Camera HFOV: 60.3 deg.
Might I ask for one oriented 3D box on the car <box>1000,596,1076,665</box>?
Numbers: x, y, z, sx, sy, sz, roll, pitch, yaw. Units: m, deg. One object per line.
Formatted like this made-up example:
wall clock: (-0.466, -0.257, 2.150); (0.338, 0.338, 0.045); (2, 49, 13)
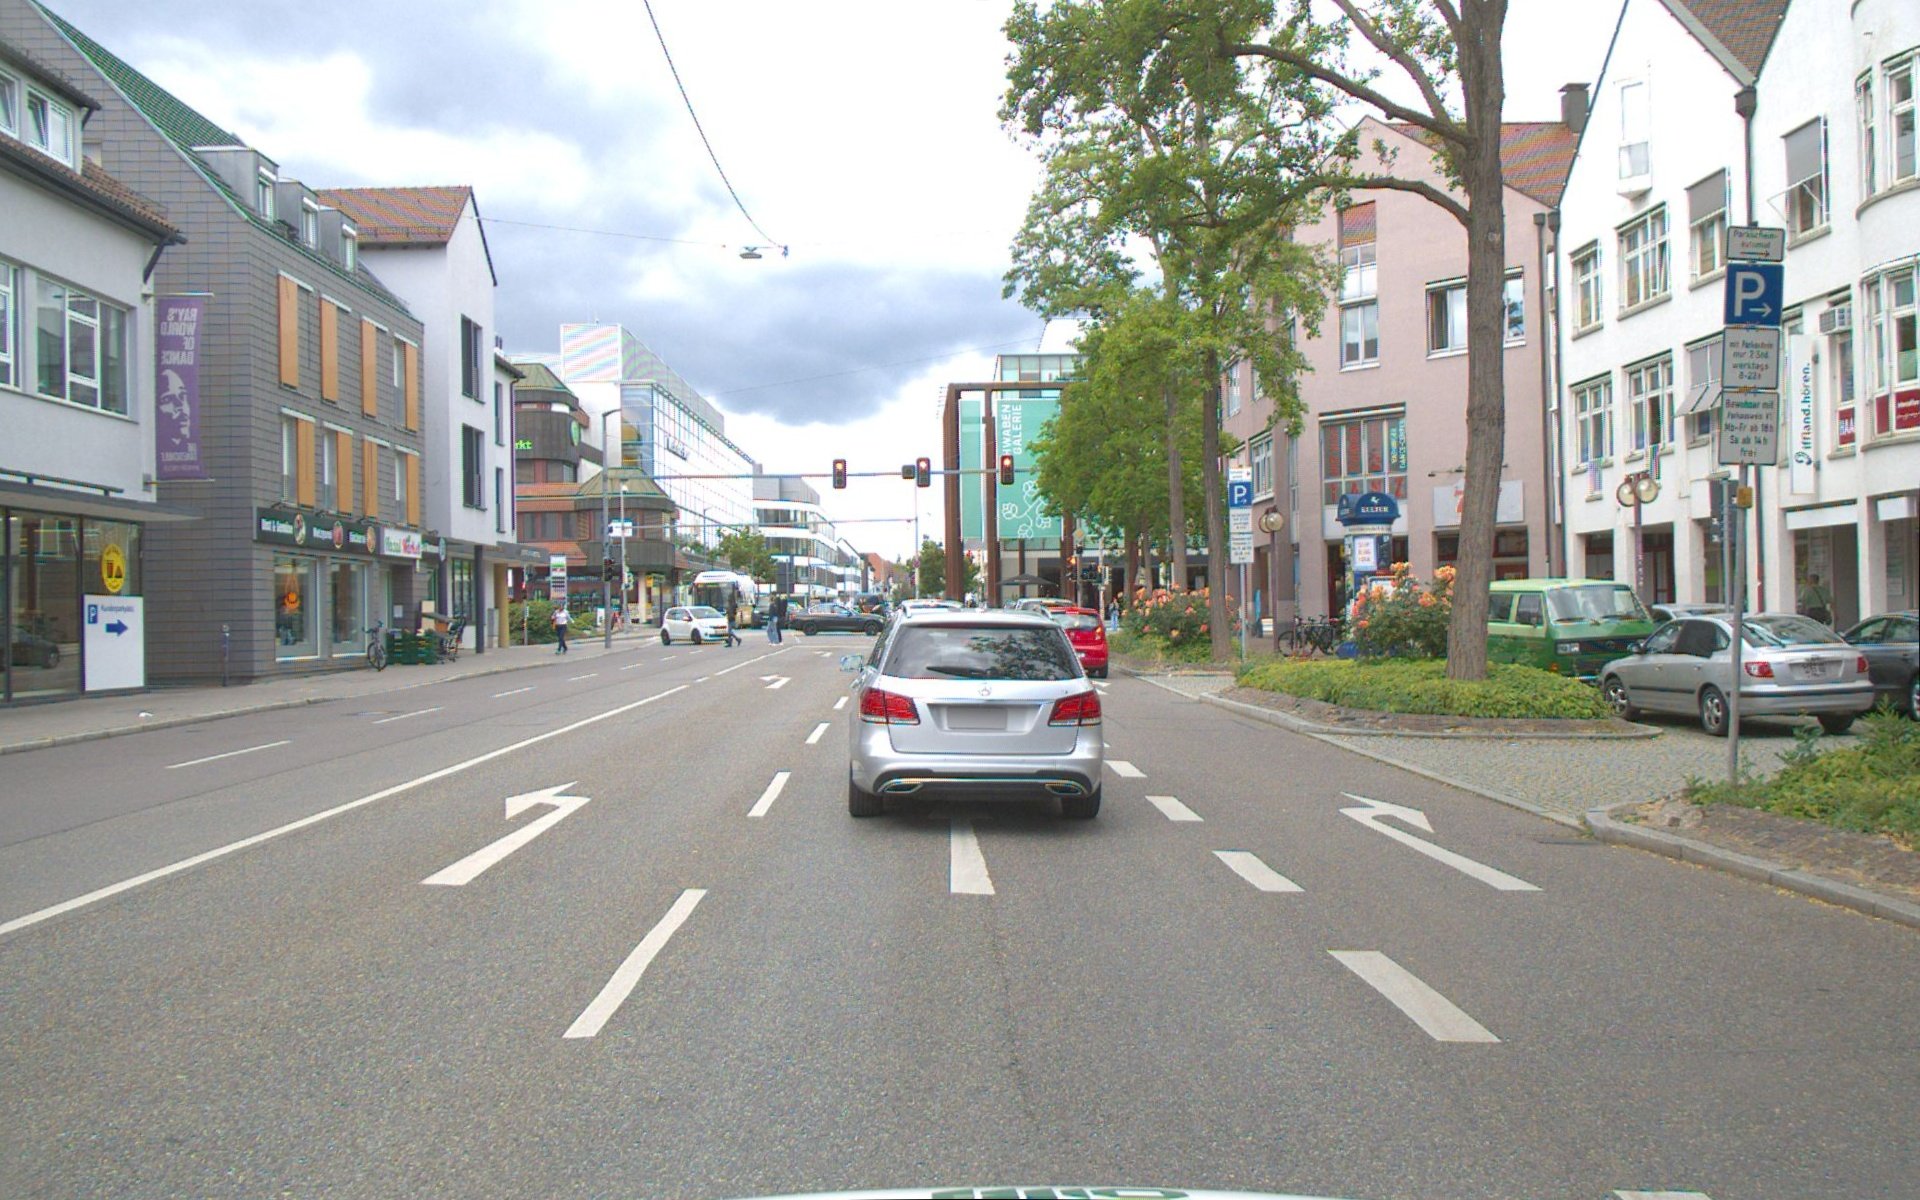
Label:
car: (1.956, 0.754, 42.329); (1.555, 1.663, 3.914); (1, 0, -3)

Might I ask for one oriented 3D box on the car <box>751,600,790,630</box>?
car: (-11.055, 0.866, 96.659); (1.953, 1.736, 4.063); (0, 0, -2)

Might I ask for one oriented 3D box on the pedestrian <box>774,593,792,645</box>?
pedestrian: (-6.215, 0.671, 58.049); (0.632, 1.806, 0.569); (-1, 0, -7)

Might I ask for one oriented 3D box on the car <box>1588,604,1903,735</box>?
car: (9.825, 0.799, 21.122); (1.727, 1.476, 4.416); (-1, 0, -3)

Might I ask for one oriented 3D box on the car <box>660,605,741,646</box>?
car: (-10.157, 0.996, 64.611); (1.564, 1.514, 3.413); (-1, 0, -40)

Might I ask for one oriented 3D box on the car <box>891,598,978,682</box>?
car: (-0.516, 0.759, 32.625); (1.606, 1.554, 3.392); (1, 0, -1)

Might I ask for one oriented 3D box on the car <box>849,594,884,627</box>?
car: (-5.778, 0.653, 102.739); (1.953, 1.983, 4.949); (0, 0, -1)

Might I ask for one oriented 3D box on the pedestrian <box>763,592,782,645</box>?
pedestrian: (-6.491, 0.640, 57.387); (0.634, 1.821, 0.683); (-1, 0, -7)

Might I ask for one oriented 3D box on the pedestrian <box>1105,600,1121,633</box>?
pedestrian: (7.892, 0.833, 85.144); (0.641, 1.679, 0.557); (-1, 0, -16)

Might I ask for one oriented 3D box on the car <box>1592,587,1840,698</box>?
car: (12.038, 0.635, 26.682); (1.760, 1.569, 4.391); (-2, 0, -3)

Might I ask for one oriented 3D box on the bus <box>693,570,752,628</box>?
bus: (-14.201, -0.060, 99.360); (2.633, 3.318, 8.649); (0, 0, -2)

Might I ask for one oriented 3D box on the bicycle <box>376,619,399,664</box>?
bicycle: (-14.930, 1.067, 43.170); (0.379, 1.147, 1.286); (-1, 0, -11)

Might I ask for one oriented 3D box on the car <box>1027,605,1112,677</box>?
car: (2.357, 0.859, 36.227); (1.554, 1.468, 3.347); (1, 0, -1)

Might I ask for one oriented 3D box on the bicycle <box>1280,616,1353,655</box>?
bicycle: (9.582, 0.959, 44.456); (1.861, 1.014, 0.468); (-1, 0, 3)

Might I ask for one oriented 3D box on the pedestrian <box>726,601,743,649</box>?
pedestrian: (-7.892, 0.874, 57.961); (0.547, 1.679, 0.652); (-1, 0, -10)

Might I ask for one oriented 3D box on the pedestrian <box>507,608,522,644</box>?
pedestrian: (-17.884, 1.047, 66.412); (0.440, 1.453, 0.441); (-1, 0, -1)

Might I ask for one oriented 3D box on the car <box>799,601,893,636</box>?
car: (-5.138, 0.833, 74.868); (4.102, 1.557, 1.789); (0, 0, -1)

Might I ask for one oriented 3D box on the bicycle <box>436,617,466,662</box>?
bicycle: (-14.088, 1.079, 45.802); (0.379, 1.207, 1.824); (-1, 0, -4)

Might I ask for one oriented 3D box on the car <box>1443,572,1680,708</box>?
car: (9.440, 0.585, 26.382); (1.843, 1.909, 4.603); (-2, 0, -3)

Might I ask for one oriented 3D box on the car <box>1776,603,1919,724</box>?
car: (12.540, 0.771, 21.011); (1.957, 1.400, 4.416); (-2, 0, -3)

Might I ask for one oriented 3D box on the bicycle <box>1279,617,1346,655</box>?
bicycle: (9.580, 0.981, 45.002); (1.731, 1.014, 0.447); (-1, 0, 3)

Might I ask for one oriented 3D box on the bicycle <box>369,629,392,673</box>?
bicycle: (-13.609, 1.190, 38.855); (0.320, 0.970, 1.479); (-1, 0, -12)

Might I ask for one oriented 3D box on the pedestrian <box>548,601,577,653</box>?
pedestrian: (-12.623, 0.859, 52.521); (0.713, 1.638, 0.753); (-1, 0, -1)

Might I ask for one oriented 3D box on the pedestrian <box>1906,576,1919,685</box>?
pedestrian: (15.357, 0.461, 25.703); (0.773, 1.688, 0.818); (-3, 0, -2)

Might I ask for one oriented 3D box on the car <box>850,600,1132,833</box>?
car: (0.063, 0.773, 12.878); (1.779, 1.474, 4.365); (1, 0, -4)

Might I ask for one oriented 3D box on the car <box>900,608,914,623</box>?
car: (-6.554, 1.894, 203.766); (1.681, 1.736, 4.063); (0, 0, -2)
